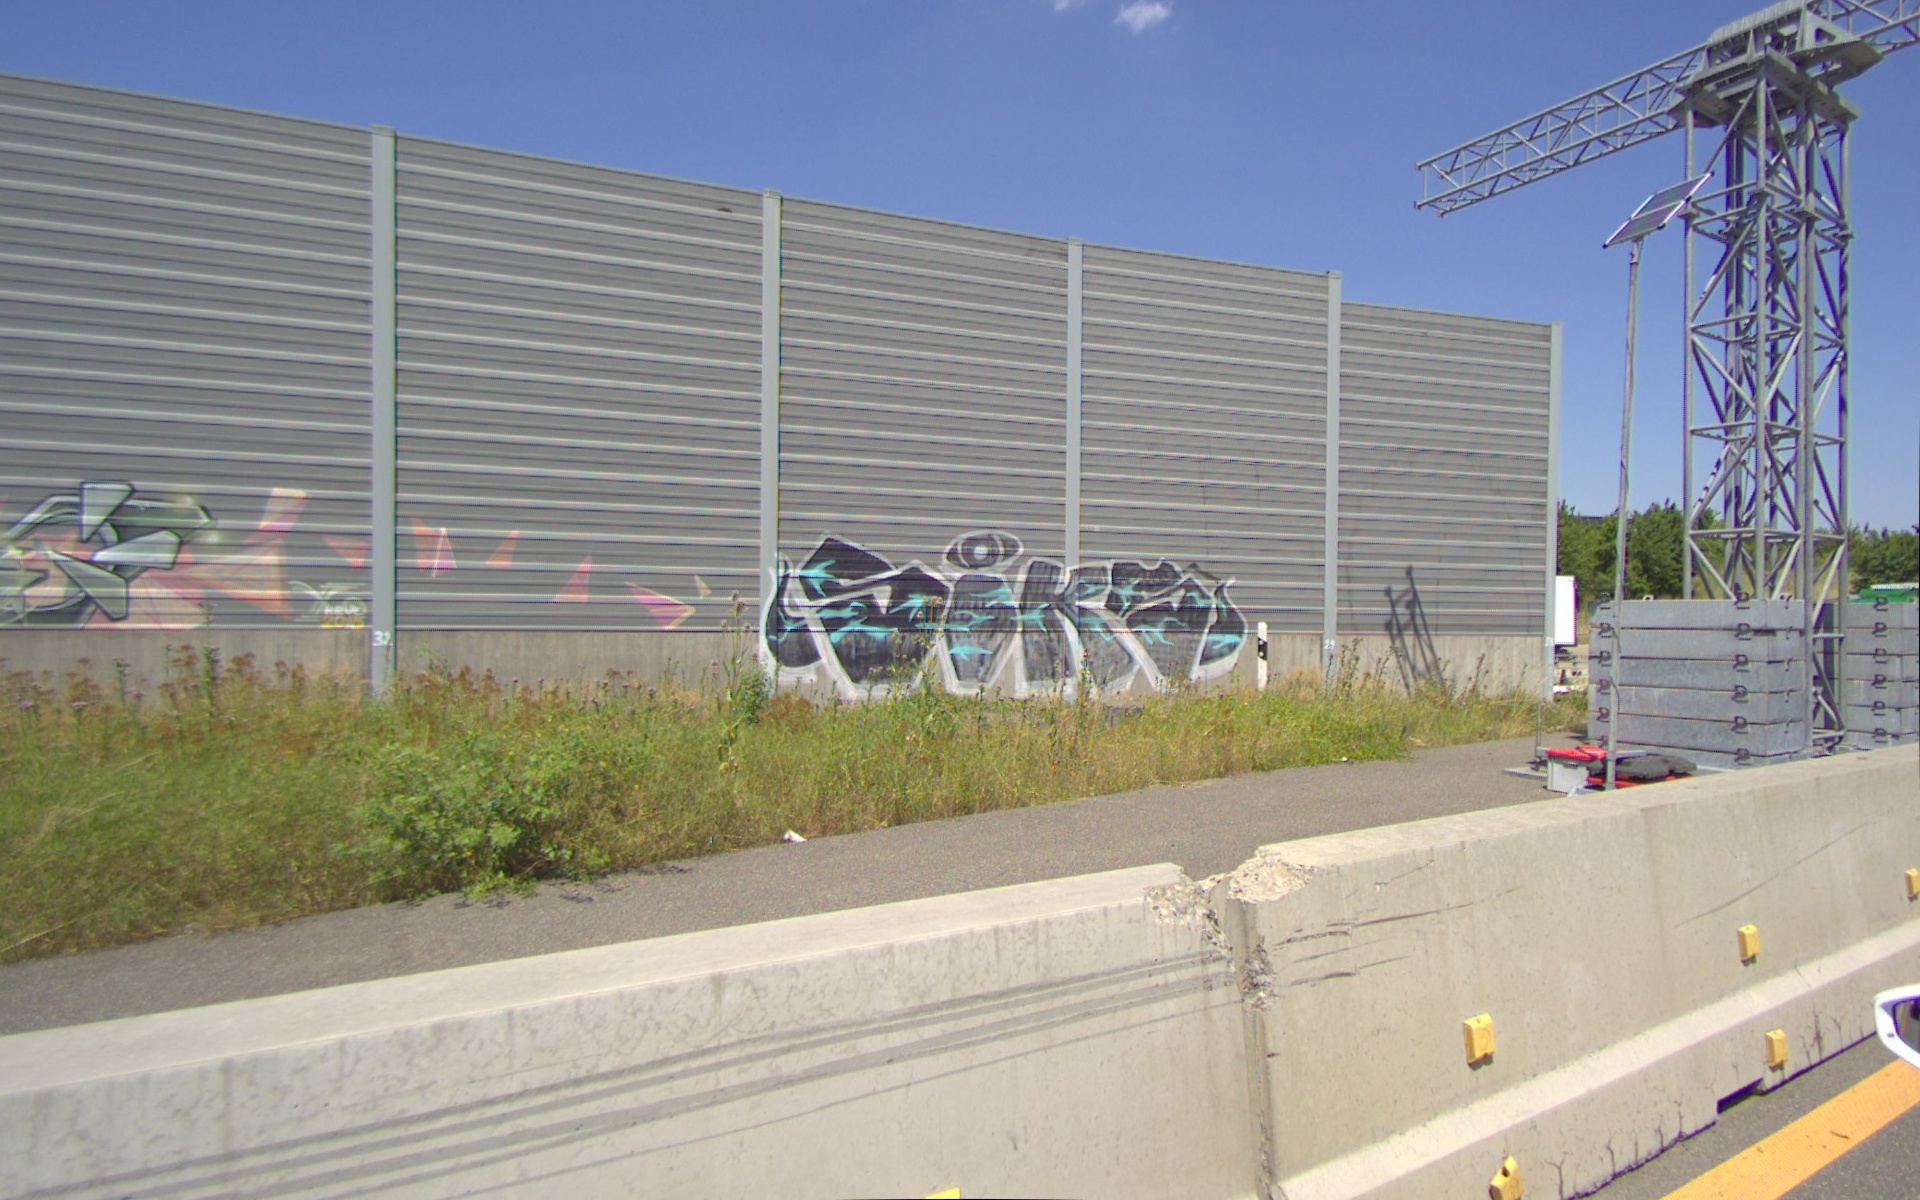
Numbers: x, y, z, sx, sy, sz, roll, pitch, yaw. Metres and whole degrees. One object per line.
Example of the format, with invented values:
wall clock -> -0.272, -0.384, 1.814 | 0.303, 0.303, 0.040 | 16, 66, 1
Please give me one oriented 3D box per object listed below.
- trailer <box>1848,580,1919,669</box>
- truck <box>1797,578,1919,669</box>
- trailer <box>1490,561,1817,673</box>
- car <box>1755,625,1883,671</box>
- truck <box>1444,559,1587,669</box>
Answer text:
trailer -> 53.027, 1.367, 51.343 | 13.657, 4.327, 3.551 | 2, 1, -10
truck -> 45.982, 1.157, 50.146 | 5.674, 4.327, 3.551 | 2, 1, -9
trailer -> 31.229, 0.802, 45.192 | 14.668, 4.560, 2.666 | 1, 1, -12
car -> 33.762, 1.875, 39.509 | 4.098, 1.645, 1.717 | 1, 0, -13
truck -> 24.077, 0.582, 43.640 | 4.758, 4.560, 2.666 | 1, 1, -12
